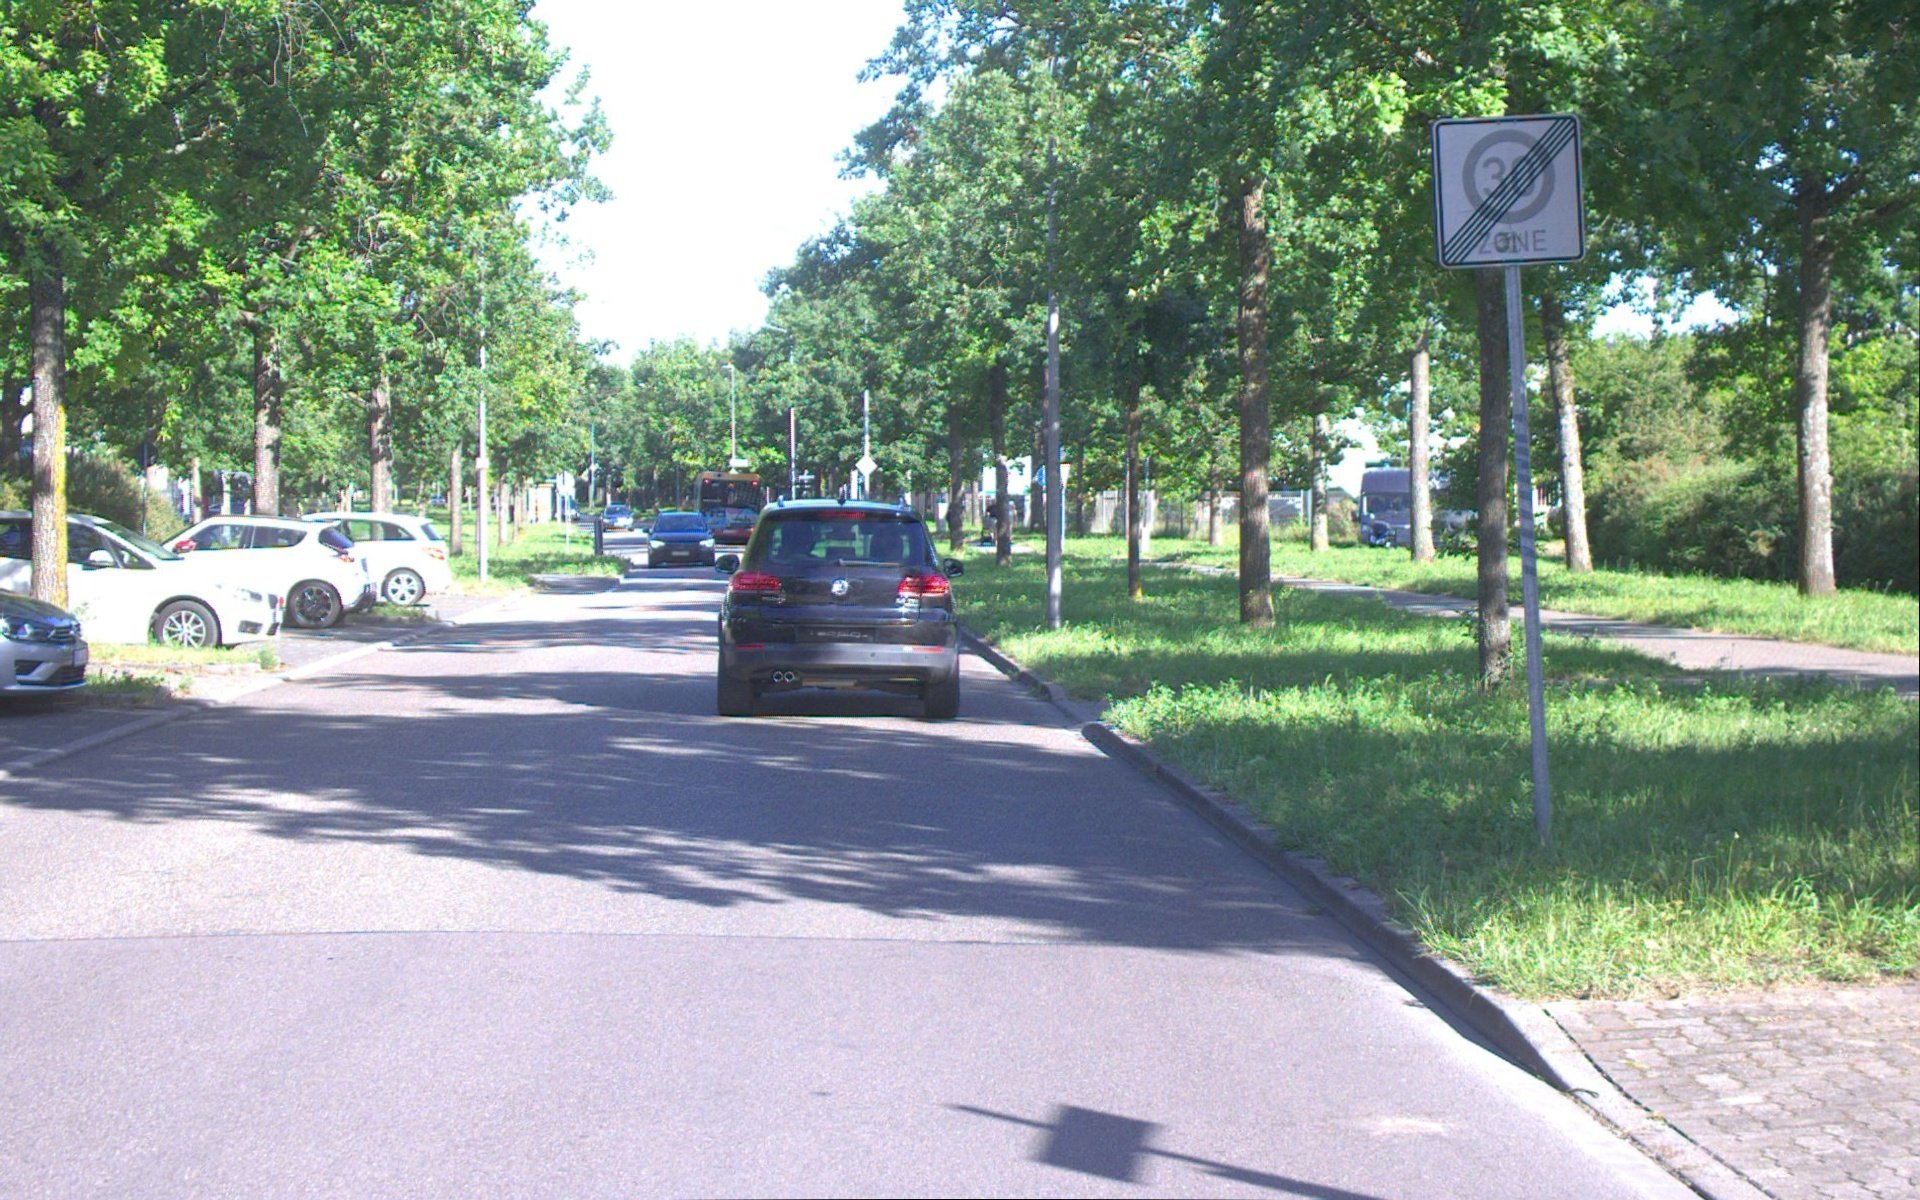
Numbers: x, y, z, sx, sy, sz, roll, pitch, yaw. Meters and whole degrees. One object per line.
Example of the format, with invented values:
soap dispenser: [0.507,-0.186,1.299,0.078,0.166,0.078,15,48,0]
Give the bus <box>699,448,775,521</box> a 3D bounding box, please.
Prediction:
bus: [-9.425,-4.903,146.075,2.928,2.993,5.738,0,2,-1]

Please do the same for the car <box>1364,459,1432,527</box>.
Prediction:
car: [13.295,-3.261,104.445,1.994,2.006,3.999,0,2,7]

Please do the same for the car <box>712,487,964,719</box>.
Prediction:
car: [-0.999,-0.039,27.217,1.837,1.630,3.959,0,3,-3]

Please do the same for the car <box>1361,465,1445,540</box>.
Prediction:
car: [12.091,-2.687,94.052,2.054,2.006,4.000,0,2,4]

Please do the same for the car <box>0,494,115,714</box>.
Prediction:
car: [-8.808,0.009,26.728,4.016,1.642,1.897,0,2,-1]

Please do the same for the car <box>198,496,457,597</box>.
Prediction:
car: [-10.580,-0.913,57.729,4.016,1.642,1.811,0,2,-1]

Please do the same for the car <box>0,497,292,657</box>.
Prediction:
car: [-9.328,-0.263,36.775,4.016,1.642,1.811,0,2,-1]

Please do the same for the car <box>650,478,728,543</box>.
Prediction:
car: [-7.229,-2.406,91.901,1.852,1.687,3.956,0,2,-1]

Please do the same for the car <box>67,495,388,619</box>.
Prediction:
car: [-10.008,-0.611,47.186,4.016,1.642,1.811,0,2,-1]

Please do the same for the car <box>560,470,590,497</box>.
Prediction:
car: [-25.969,-7.877,232.082,1.816,1.769,3.778,0,2,-3]
